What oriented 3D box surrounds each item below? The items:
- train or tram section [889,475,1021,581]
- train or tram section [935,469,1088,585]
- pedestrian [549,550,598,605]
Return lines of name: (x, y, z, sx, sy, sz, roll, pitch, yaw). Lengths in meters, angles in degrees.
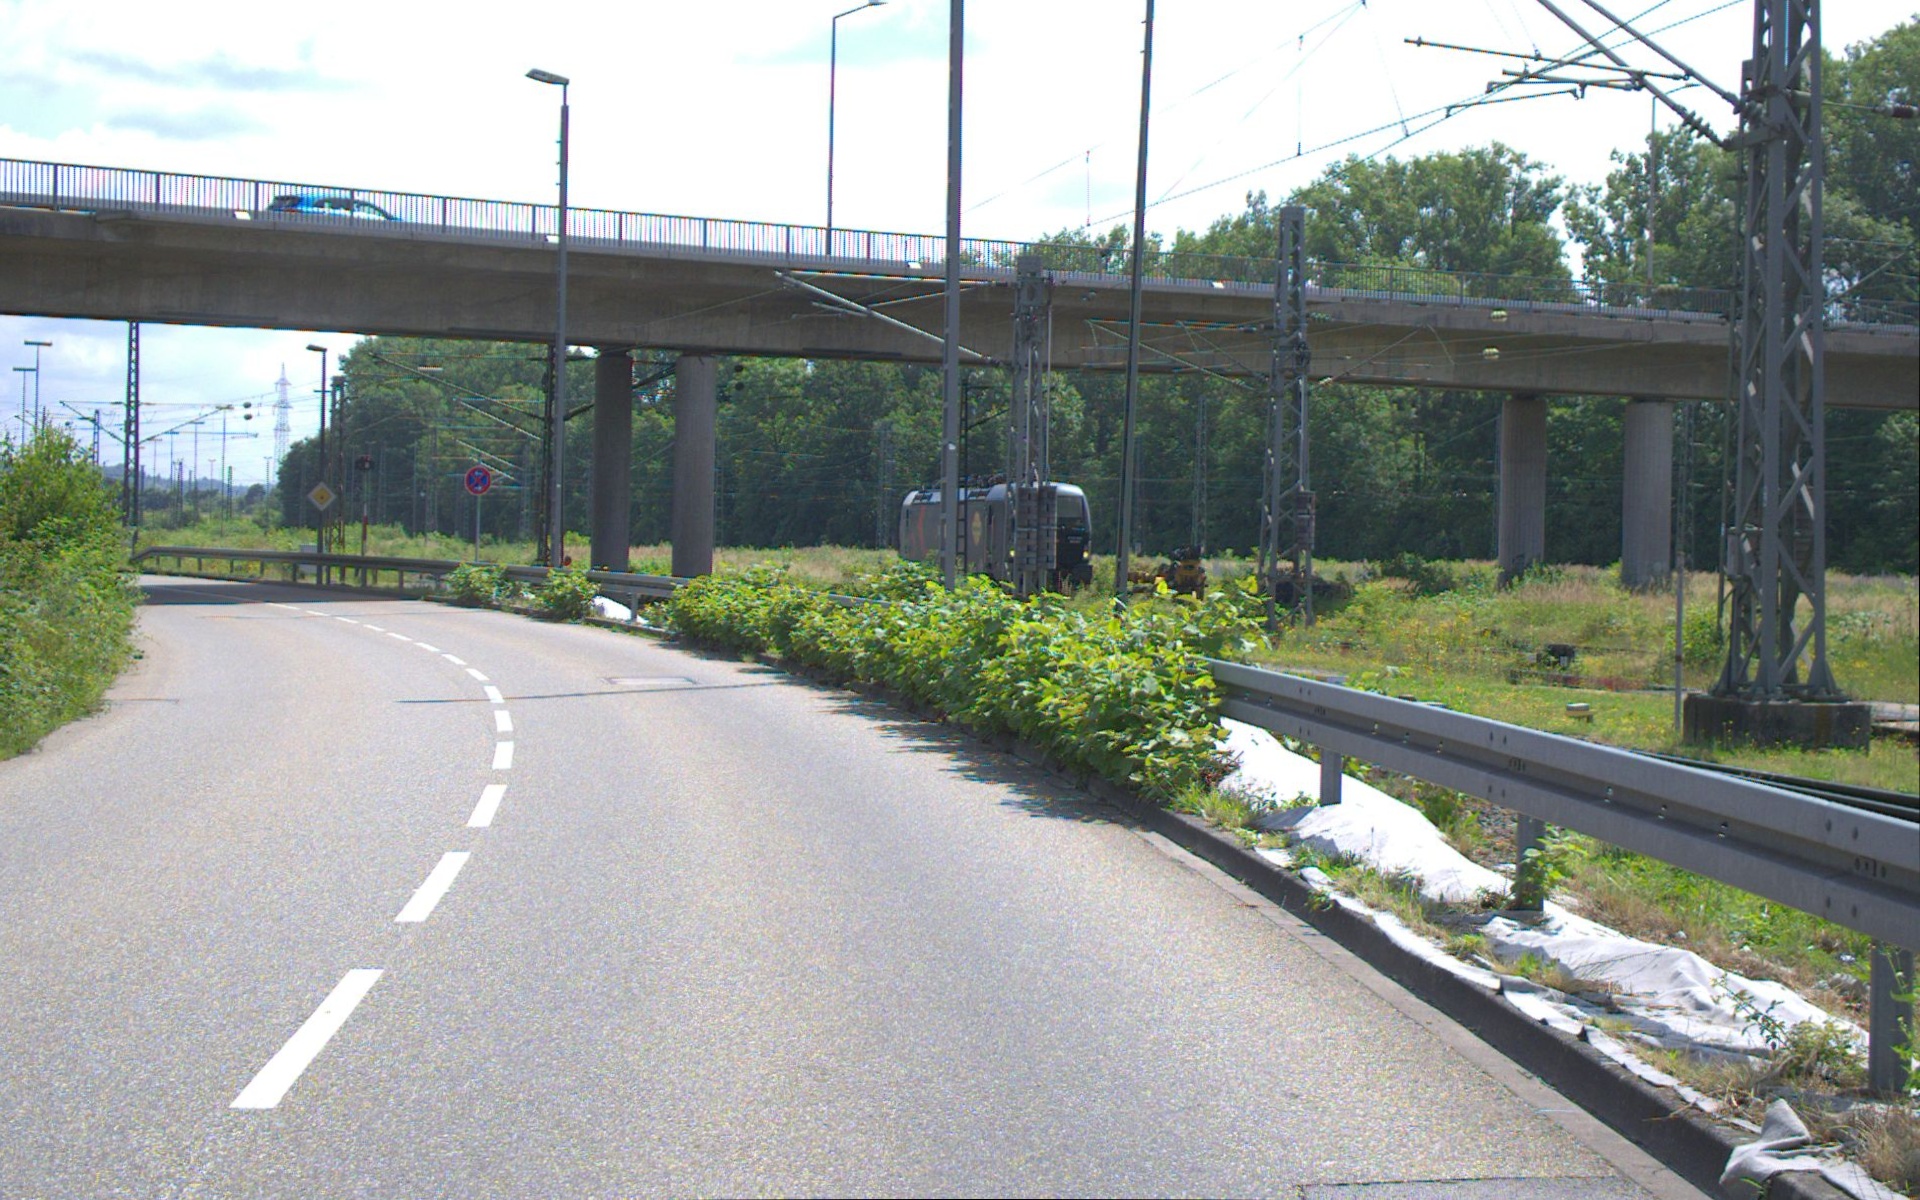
train or tram section: (-0.238, -2.419, 117.774, 2.755, 3.465, 8.241, 1, 0, -13)
train or tram section: (1.549, -2.267, 109.490, 2.889, 3.497, 8.568, 1, 0, -13)
pedestrian: (-10.865, -0.633, 96.683, 1.110, 1.534, 1.580, 1, 0, -15)
